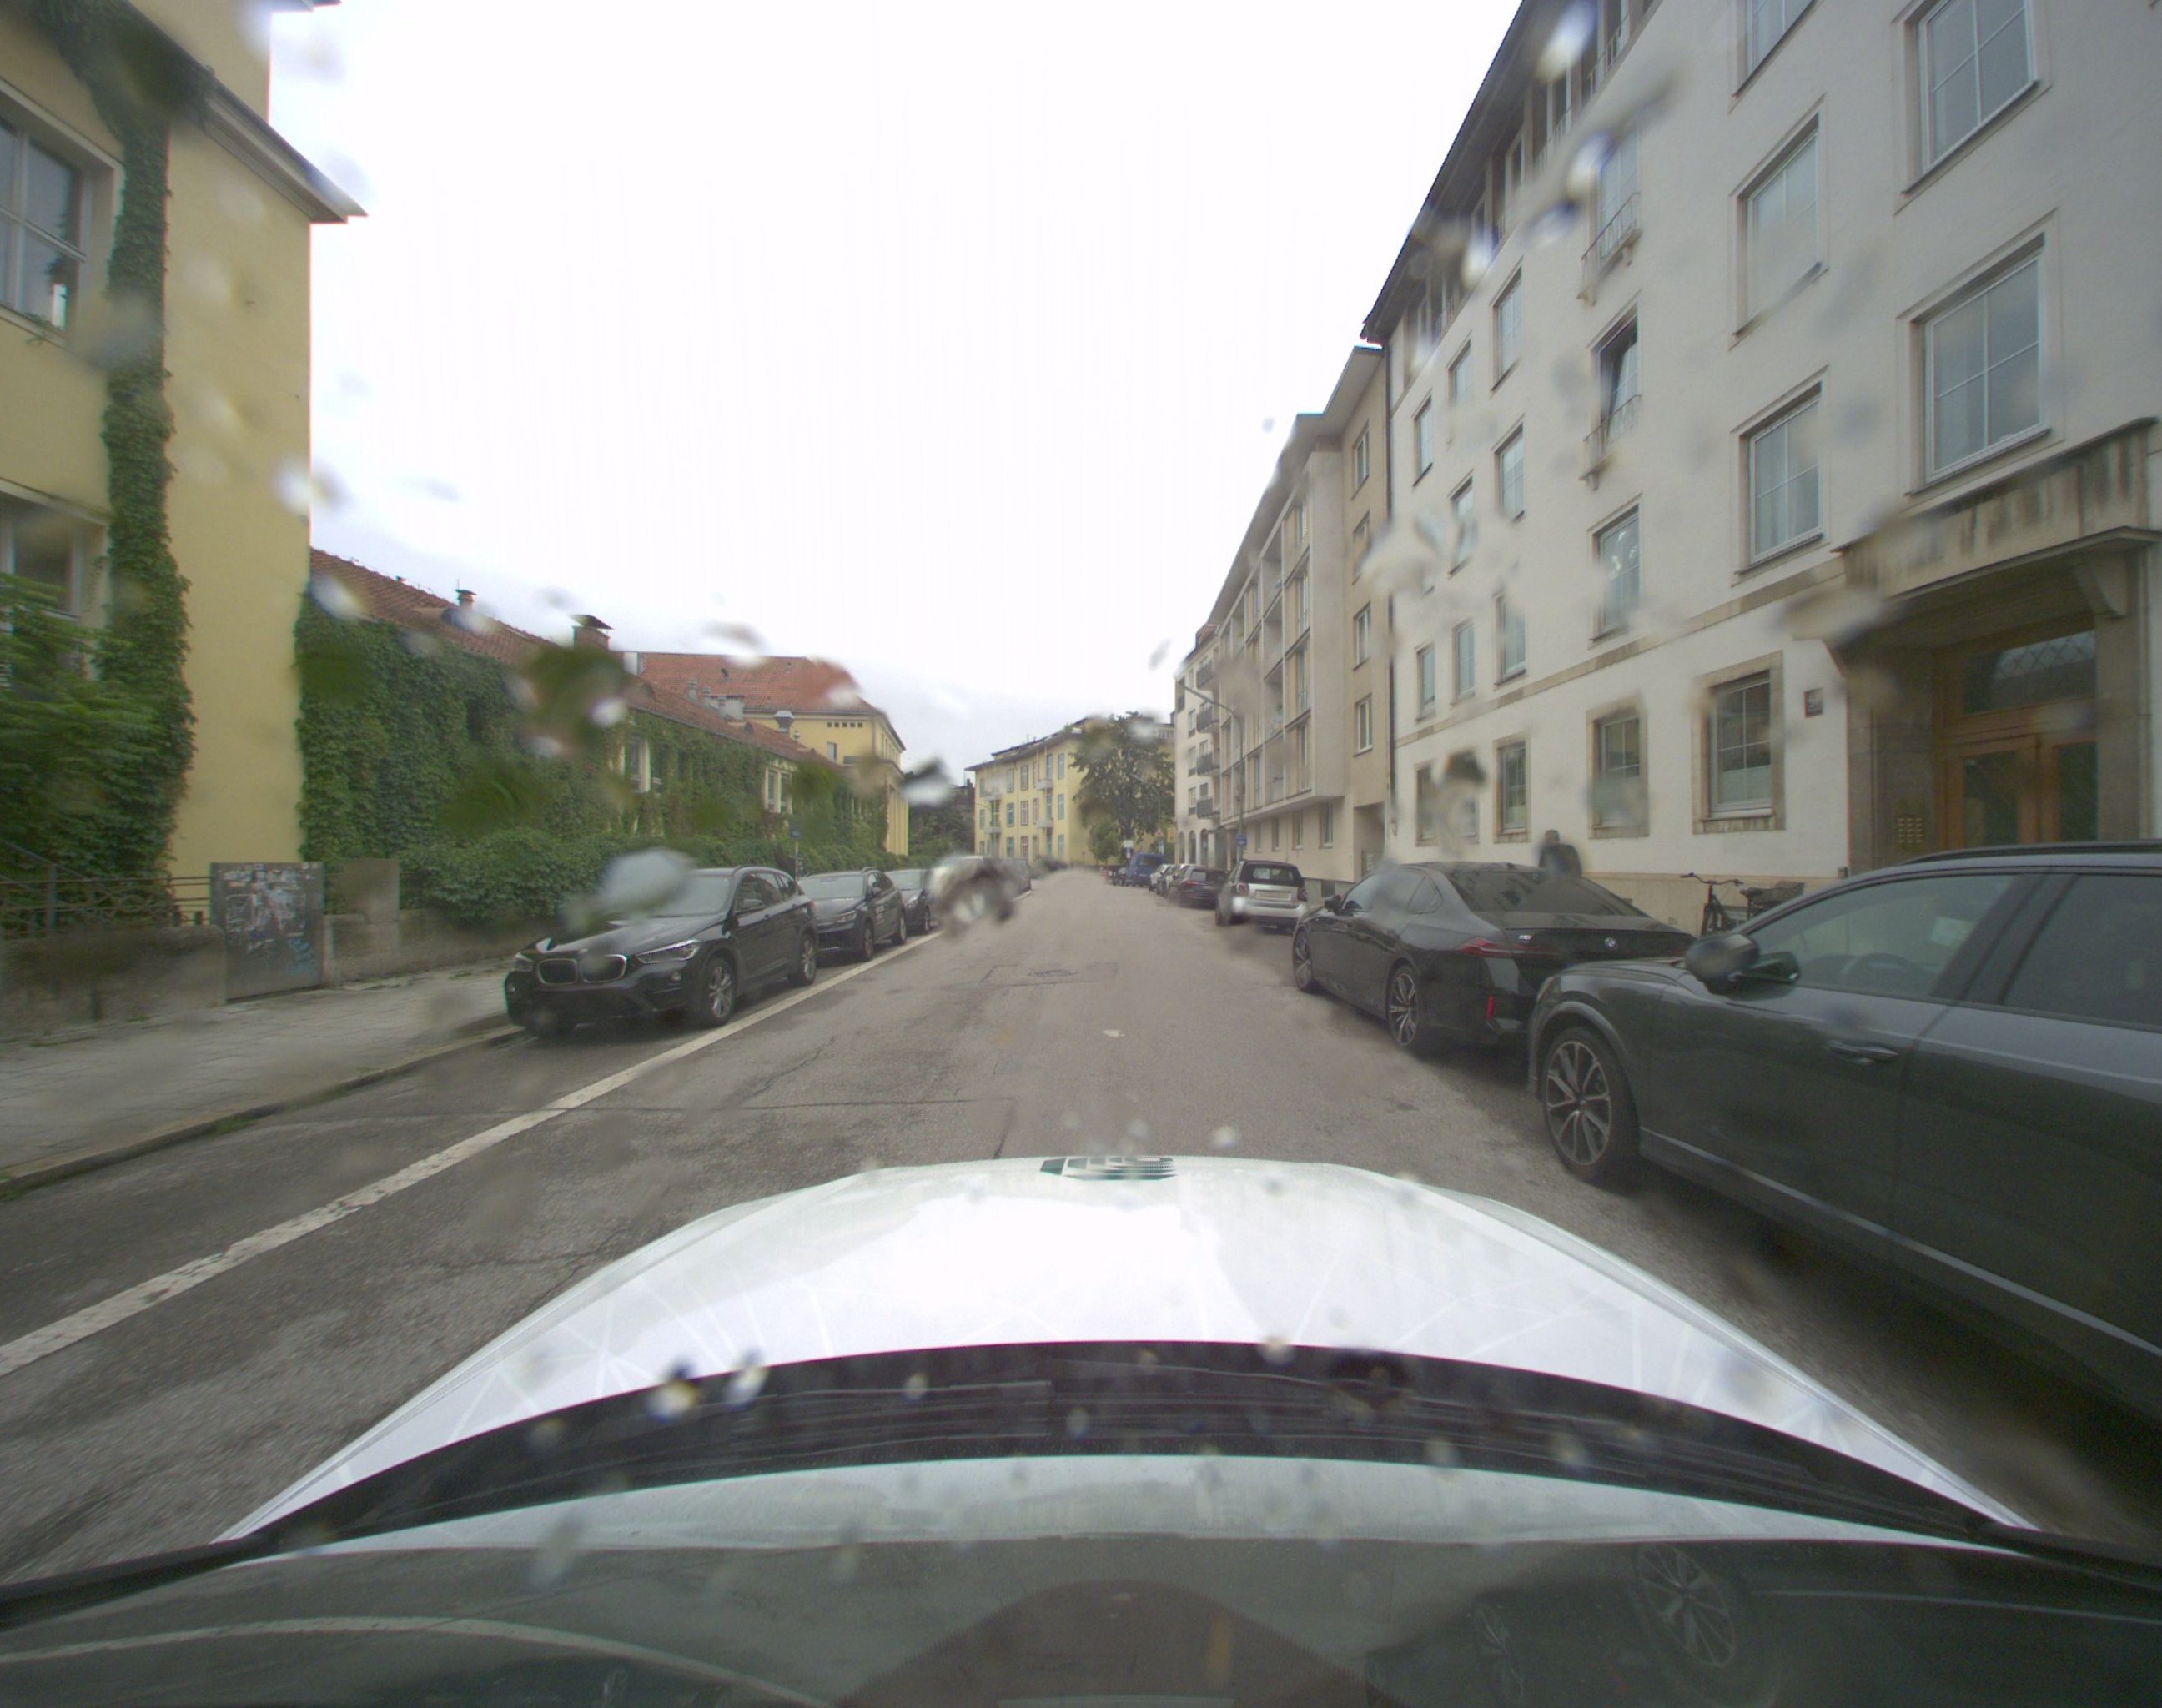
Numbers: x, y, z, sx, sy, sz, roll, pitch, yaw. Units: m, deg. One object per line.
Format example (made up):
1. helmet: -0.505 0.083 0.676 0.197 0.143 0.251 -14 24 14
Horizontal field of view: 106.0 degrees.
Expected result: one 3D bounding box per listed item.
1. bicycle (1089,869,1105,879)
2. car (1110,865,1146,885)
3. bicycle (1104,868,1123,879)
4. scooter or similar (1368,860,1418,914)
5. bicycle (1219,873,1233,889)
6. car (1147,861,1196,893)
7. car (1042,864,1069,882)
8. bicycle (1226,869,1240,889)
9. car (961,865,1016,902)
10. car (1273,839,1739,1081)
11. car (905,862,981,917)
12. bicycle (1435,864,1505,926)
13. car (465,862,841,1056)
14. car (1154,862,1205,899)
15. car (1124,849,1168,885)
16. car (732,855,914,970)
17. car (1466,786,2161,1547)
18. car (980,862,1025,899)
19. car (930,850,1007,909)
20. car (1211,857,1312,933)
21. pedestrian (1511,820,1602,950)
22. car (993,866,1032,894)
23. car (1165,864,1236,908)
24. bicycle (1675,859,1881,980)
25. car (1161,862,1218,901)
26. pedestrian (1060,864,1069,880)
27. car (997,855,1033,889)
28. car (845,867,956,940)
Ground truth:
1. bicycle: 1.815 2.308 93.534 1.903 1.201 0.599 -1 -1 38
2. car: 3.569 1.572 62.161 1.677 1.389 4.289 4 -2 -11
3. bicycle: 3.673 2.244 92.327 2.052 1.201 0.597 0 -1 14
4. scooter or similar: 8.139 0.860 21.296 0.439 1.359 1.584 0 -3 -10
5. bicycle: 8.339 1.545 46.908 0.454 0.923 1.734 0 -1 -1
6. car: 4.839 1.221 44.310 1.782 1.533 4.641 3 -1 -4
7. car: -2.931 2.105 92.641 1.768 1.874 4.348 4 -2 -20
8. bicycle: 8.875 1.451 47.520 0.454 1.110 1.853 0 -1 -1
9. car: -3.982 1.226 35.681 1.647 1.414 4.772 -4 -1 2
10. car: 3.371 0.709 7.915 1.796 1.484 5.320 2 -1 1
11. car: -4.087 1.009 24.681 1.586 1.441 4.018 -3 -1 0
12. bicycle: 8.026 0.807 16.899 0.527 1.218 2.104 0 -1 2
13. car: -4.432 0.938 9.496 1.784 1.586 4.816 -3 -1 0
14. car: 4.648 1.213 38.979 1.873 1.522 5.164 3 -1 1
15. car: 4.384 0.944 56.015 2.075 2.234 5.234 4 -3 -5
16. car: -4.296 0.900 14.354 1.719 1.629 4.465 -3 -1 0
17. car: 3.131 0.692 2.662 1.639 1.589 4.636 2 -1 2
18. car: -3.839 1.276 40.440 1.692 1.643 4.489 -3 -1 0
19. car: -4.014 0.898 29.949 1.879 1.889 4.776 -3 -1 2
20. car: 3.947 0.854 18.215 1.644 1.495 2.882 2 -1 2
21. pedestrian: 6.659 0.440 11.454 0.720 1.764 0.905 0 -3 2
22. car: -3.800 1.418 45.745 1.689 1.393 4.500 -5 -1 0
23. car: 4.151 1.064 29.013 1.740 1.388 4.952 2 -1 -1
24. bicycle: 7.840 0.676 9.299 0.512 1.222 1.985 -1 0 -5
25. car: 4.457 1.093 33.949 1.689 1.489 4.578 2 -1 -1
26. pedestrian: -1.858 2.078 92.838 0.877 1.823 0.793 0 -1 -19
27. car: -4.077 1.128 51.004 2.069 1.964 5.341 -2 -1 -4
28. car: -4.159 1.090 19.425 1.598 1.430 4.251 -4 -1 0
